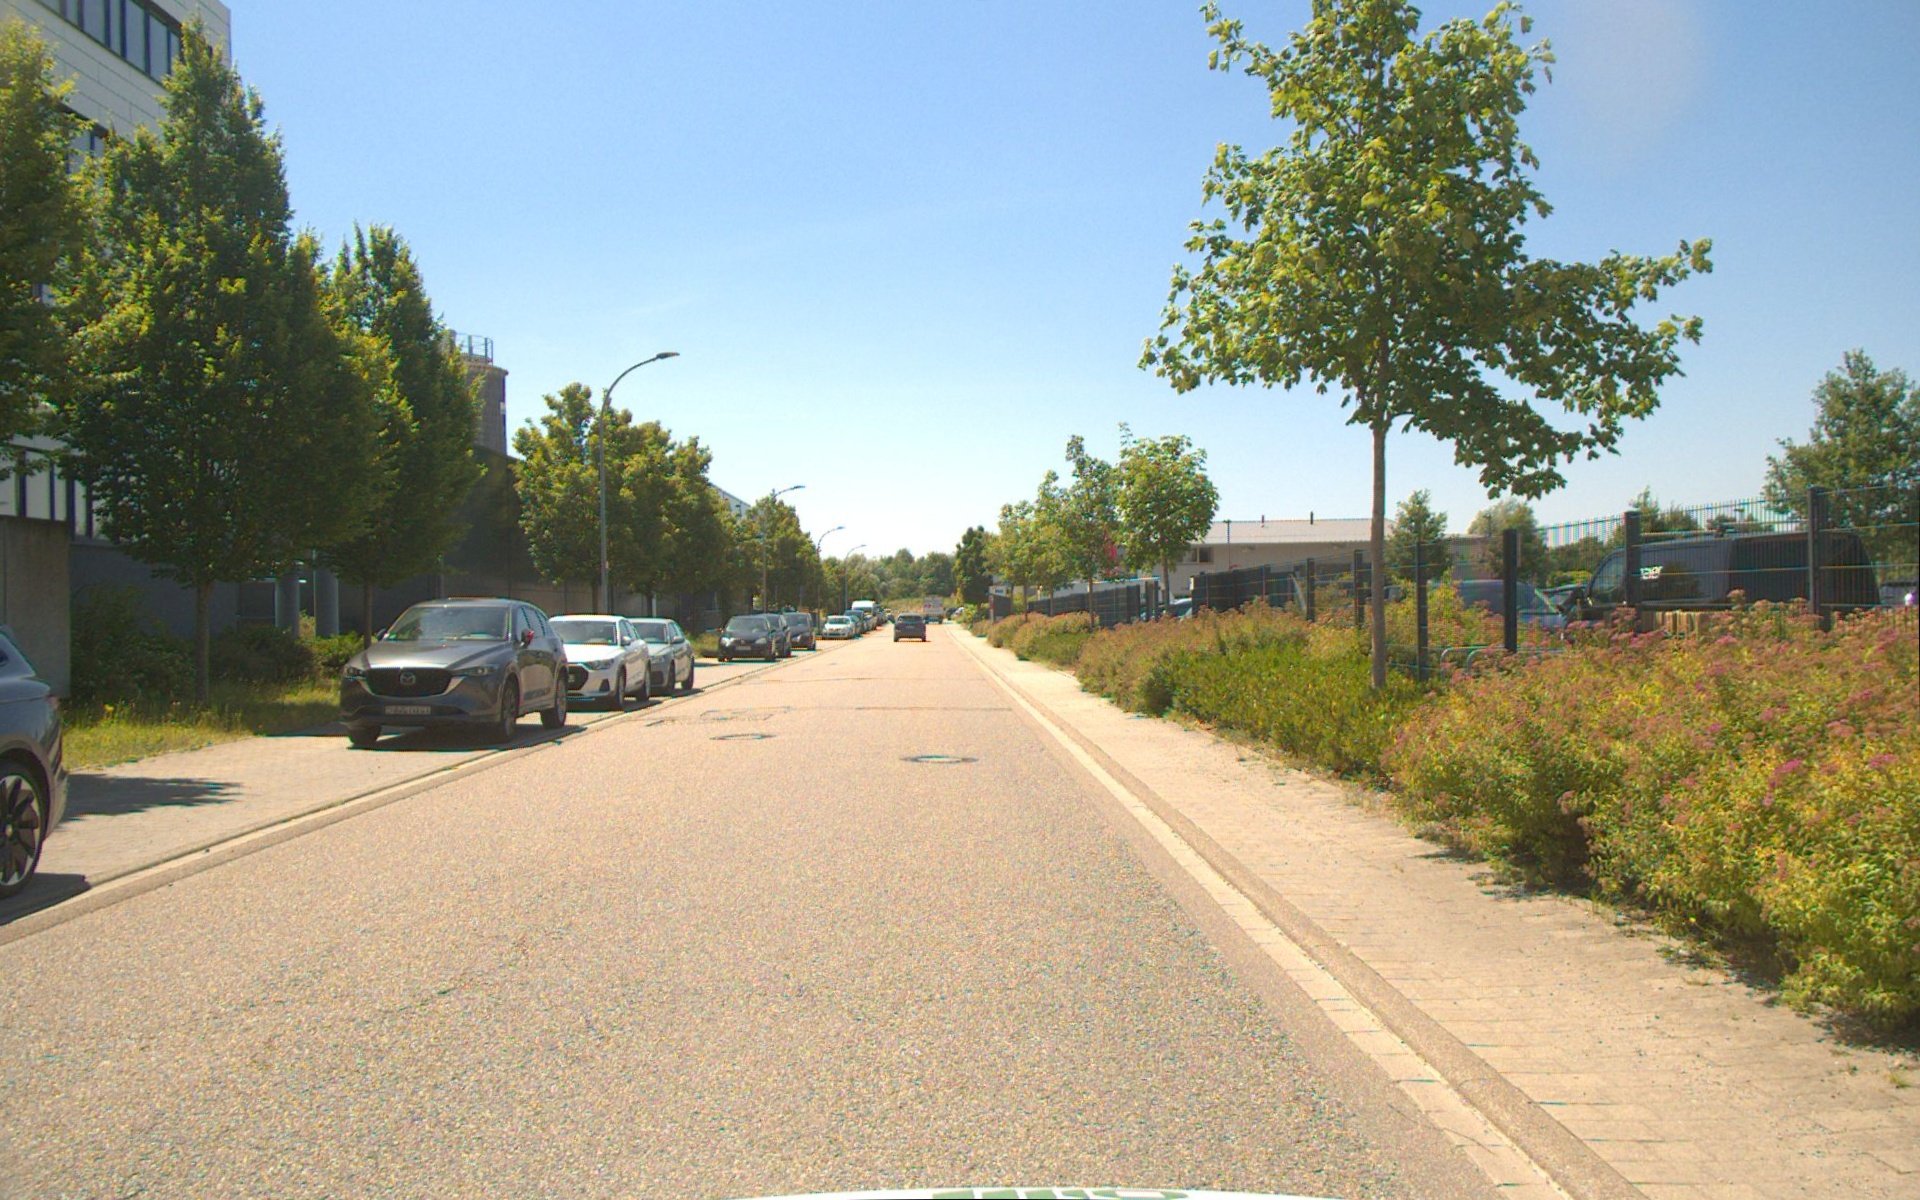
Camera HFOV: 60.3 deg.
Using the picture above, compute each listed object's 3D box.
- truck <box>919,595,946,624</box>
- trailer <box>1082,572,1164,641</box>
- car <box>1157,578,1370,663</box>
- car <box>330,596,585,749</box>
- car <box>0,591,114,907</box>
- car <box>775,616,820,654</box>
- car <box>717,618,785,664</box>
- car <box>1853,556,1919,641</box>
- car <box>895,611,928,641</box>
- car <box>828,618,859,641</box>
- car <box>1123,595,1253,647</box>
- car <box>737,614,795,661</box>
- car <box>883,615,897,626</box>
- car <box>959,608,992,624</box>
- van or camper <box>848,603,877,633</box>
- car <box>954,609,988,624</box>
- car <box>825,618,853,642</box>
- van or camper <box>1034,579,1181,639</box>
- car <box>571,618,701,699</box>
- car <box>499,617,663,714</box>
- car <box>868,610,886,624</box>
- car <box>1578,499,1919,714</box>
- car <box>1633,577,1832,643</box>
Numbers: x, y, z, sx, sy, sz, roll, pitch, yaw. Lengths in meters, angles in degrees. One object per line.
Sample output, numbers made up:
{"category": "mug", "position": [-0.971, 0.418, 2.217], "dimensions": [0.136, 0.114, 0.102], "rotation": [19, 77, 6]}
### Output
{"category": "truck", "position": [-2.934, 1.002, 177.828], "dimensions": [2.873, 3.026, 6.417], "rotation": [1, -1, -1]}
{"category": "trailer", "position": [6.101, 0.242, 61.948], "dimensions": [2.768, 2.445, 1.418], "rotation": [-2, -1, -6]}
{"category": "car", "position": [7.720, 0.513, 42.396], "dimensions": [5.011, 1.906, 1.902], "rotation": [-2, -1, -2]}
{"category": "car", "position": [-5.986, 0.814, 20.288], "dimensions": [1.734, 1.652, 4.581], "rotation": [1, -1, 0]}
{"category": "car", "position": [-5.767, 0.762, 7.397], "dimensions": [1.735, 1.616, 4.479], "rotation": [-1, -1, -1]}
{"category": "car", "position": [-7.125, 1.517, 72.963], "dimensions": [1.735, 1.640, 4.245], "rotation": [0, -1, -2]}
{"category": "car", "position": [-6.899, 1.347, 54.927], "dimensions": [1.734, 1.456, 4.200], "rotation": [1, -1, 0]}
{"category": "car", "position": [18.907, -0.068, 30.472], "dimensions": [3.907, 1.512, 1.850], "rotation": [-2, -1, -2]}
{"category": "car", "position": [-2.711, 1.459, 92.829], "dimensions": [1.753, 1.652, 3.807], "rotation": [1, -1, -1]}
{"category": "car", "position": [-7.737, 1.975, 110.395], "dimensions": [1.762, 1.502, 4.553], "rotation": [0, -1, -1]}
{"category": "car", "position": [7.355, 0.687, 53.580], "dimensions": [3.907, 1.548, 1.822], "rotation": [-2, -1, -2]}
{"category": "car", "position": [-7.071, 1.362, 60.737], "dimensions": [1.735, 1.640, 4.849], "rotation": [0, -1, -2]}
{"category": "car", "position": [-9.486, 2.757, 224.108], "dimensions": [1.762, 1.513, 4.252], "rotation": [0, 0, 0]}
{"category": "car", "position": [1.790, 1.918, 193.123], "dimensions": [3.799, 1.780, 1.750], "rotation": [1, -1, -4]}
{"category": "van or camper", "position": [-8.620, 1.611, 146.595], "dimensions": [2.036, 2.526, 6.131], "rotation": [1, -1, 1]}
{"category": "car", "position": [1.301, 1.940, 195.658], "dimensions": [3.799, 1.780, 1.750], "rotation": [1, -1, -4]}
{"category": "car", "position": [-7.691, 1.910, 105.134], "dimensions": [1.686, 1.502, 3.854], "rotation": [0, -1, -3]}
{"category": "van or camper", "position": [6.917, 0.428, 78.351], "dimensions": [6.621, 2.630, 2.634], "rotation": [-2, -1, -2]}
{"category": "car", "position": [-6.199, 1.080, 32.008], "dimensions": [1.734, 1.456, 3.939], "rotation": [1, -1, 0]}
{"category": "car", "position": [-6.151, 1.021, 27.268], "dimensions": [1.734, 1.456, 4.200], "rotation": [1, -1, 0]}
{"category": "car", "position": [-8.977, 1.810, 179.284], "dimensions": [1.762, 1.513, 4.252], "rotation": [0, 0, 0]}
{"category": "car", "position": [8.903, 0.078, 19.032], "dimensions": [1.839, 2.123, 4.224], "rotation": [-2, 0, -1]}
{"category": "car", "position": [18.471, 0.245, 39.646], "dimensions": [3.907, 1.427, 1.818], "rotation": [-2, -1, -2]}
